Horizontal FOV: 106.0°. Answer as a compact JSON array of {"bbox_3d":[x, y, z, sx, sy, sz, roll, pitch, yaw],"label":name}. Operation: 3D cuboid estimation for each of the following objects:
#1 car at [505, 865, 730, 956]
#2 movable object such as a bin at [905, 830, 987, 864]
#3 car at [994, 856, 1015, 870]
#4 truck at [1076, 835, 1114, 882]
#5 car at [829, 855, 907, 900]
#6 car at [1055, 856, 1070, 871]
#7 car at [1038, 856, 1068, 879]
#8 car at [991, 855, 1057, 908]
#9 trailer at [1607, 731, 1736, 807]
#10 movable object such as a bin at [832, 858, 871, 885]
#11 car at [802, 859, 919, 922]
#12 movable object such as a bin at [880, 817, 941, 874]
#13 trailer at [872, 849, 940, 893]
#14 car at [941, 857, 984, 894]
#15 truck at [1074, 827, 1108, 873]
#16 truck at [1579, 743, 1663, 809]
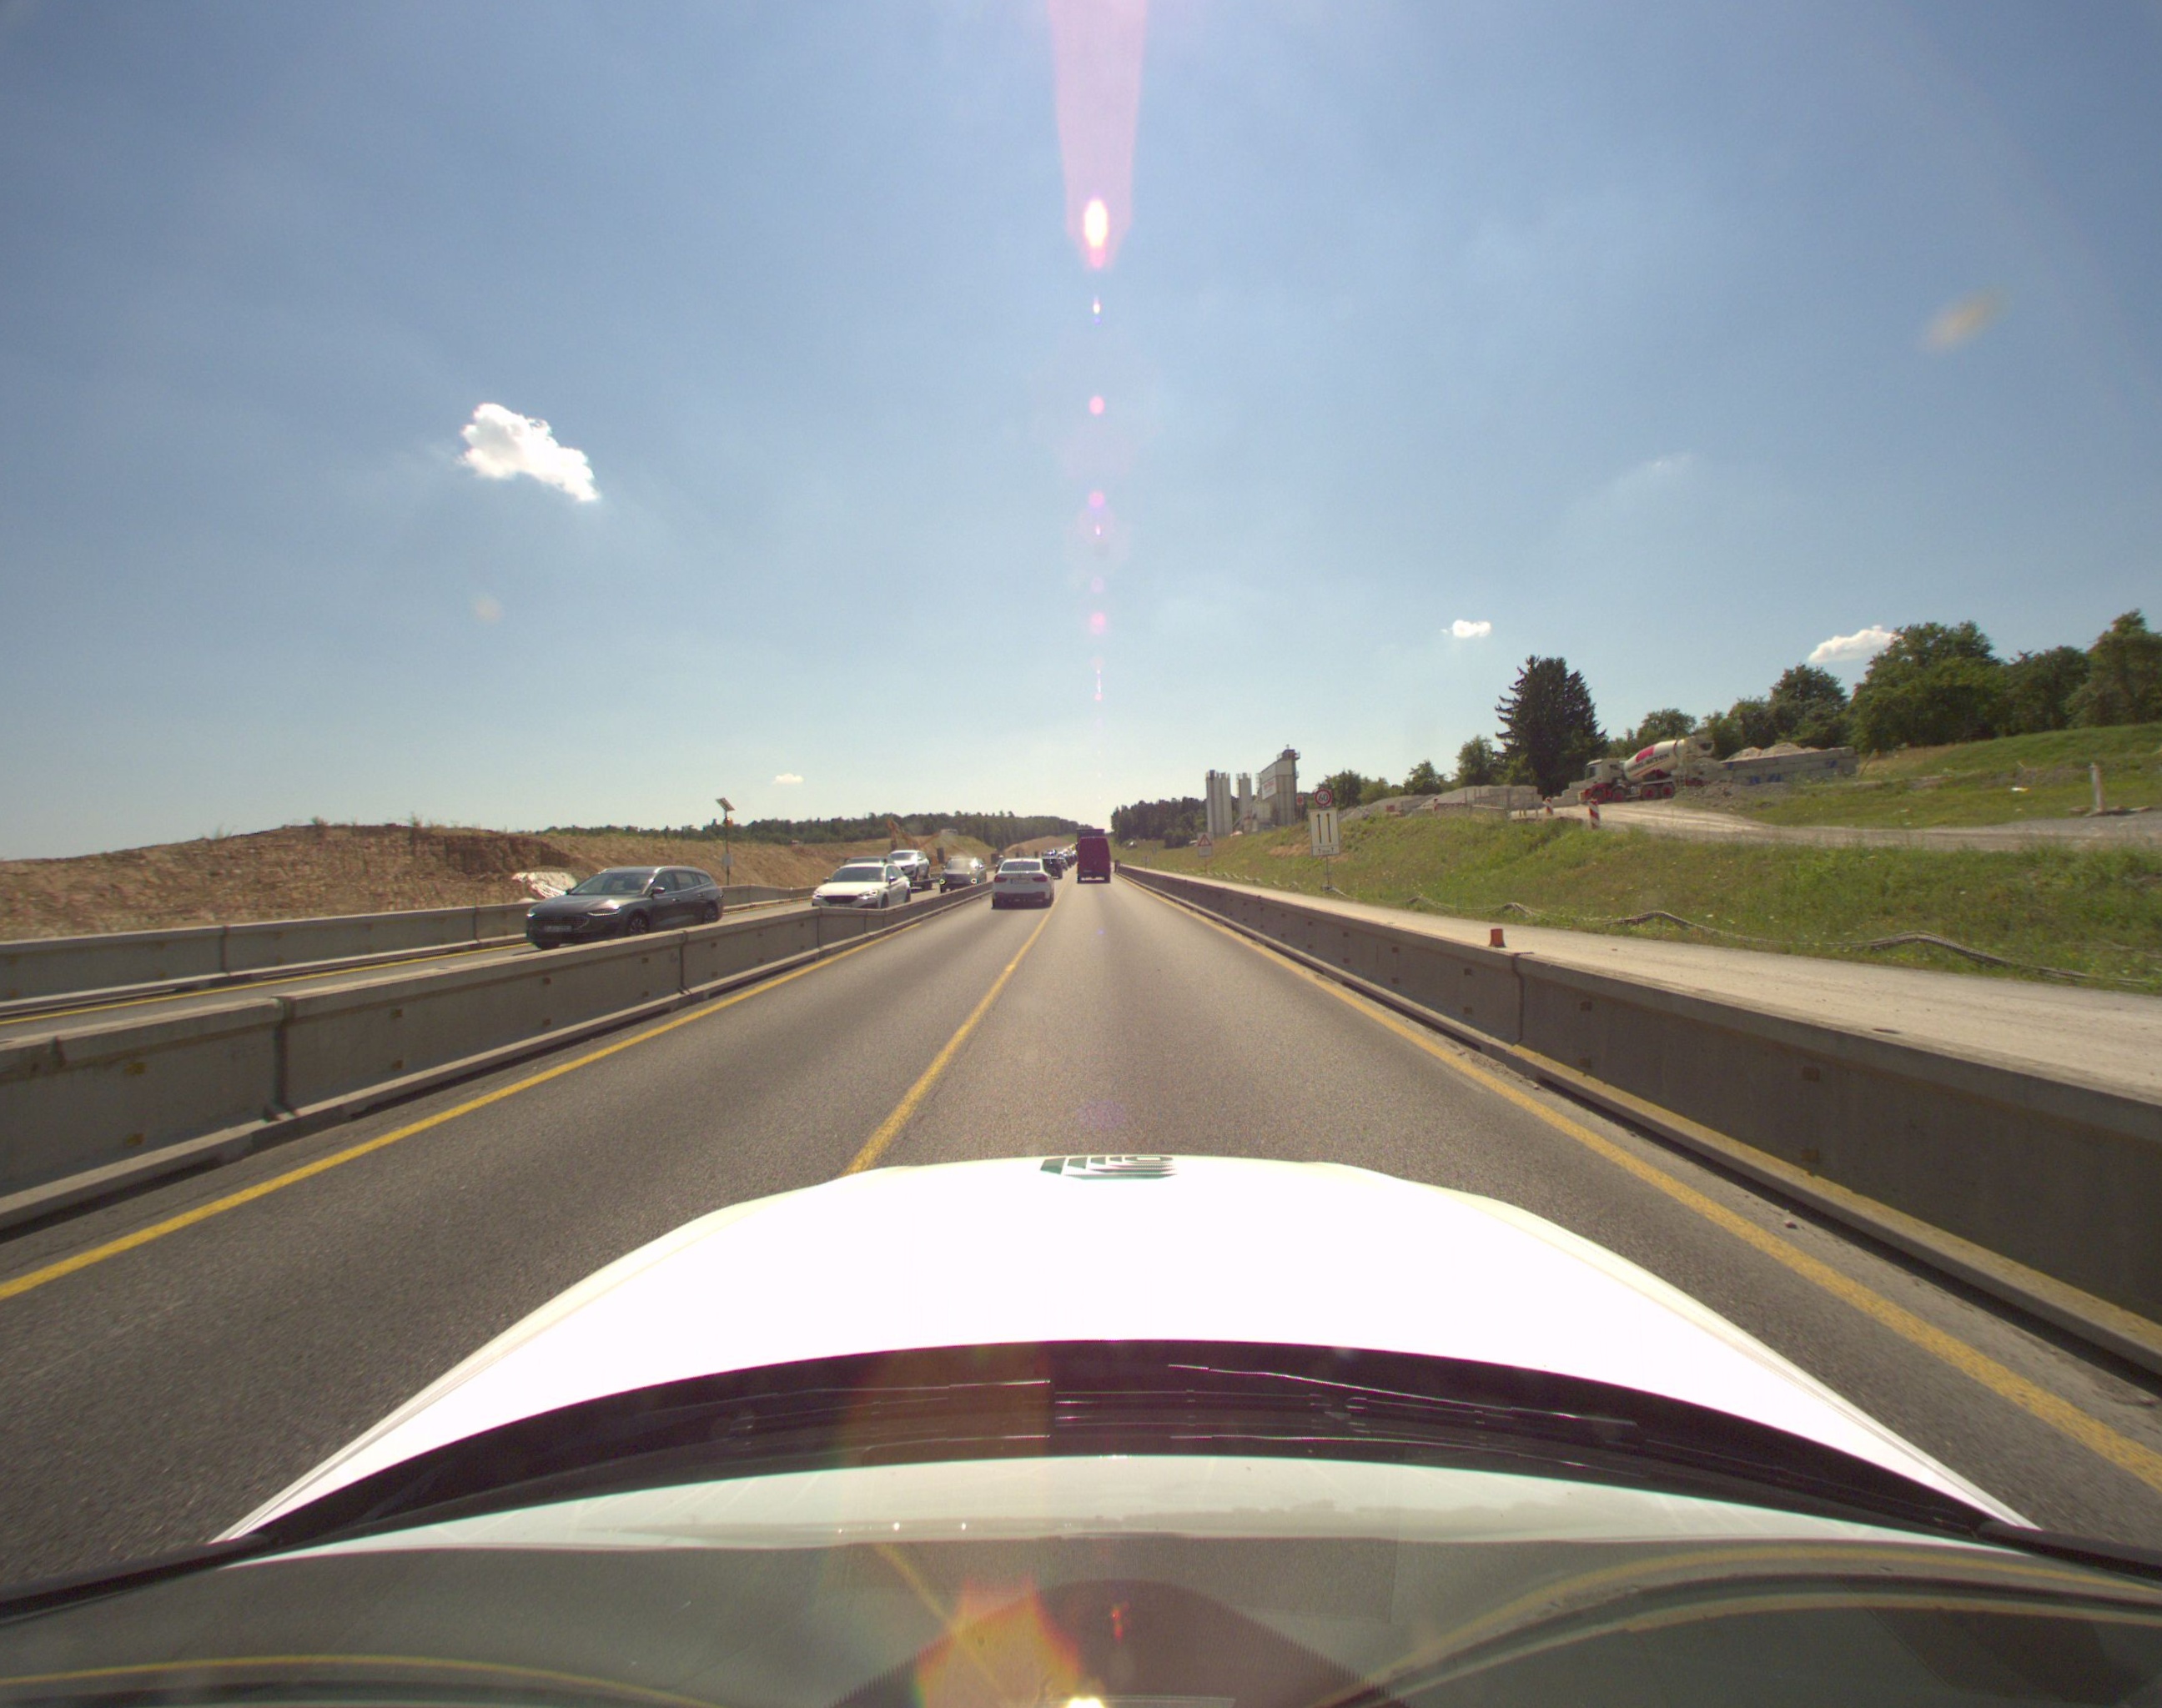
[{"bbox_3d":[-8.839,0.979,16.108,1.816,1.423,4.645,-2,0,-1],"label":"car"},{"bbox_3d":[-32.108,-1.673,194.225,18.663,7.231,3.613,-2,0,-2],"label":"movable object such as a bin"},{"bbox_3d":[-8.523,0.986,91.598,1.854,1.501,4.576,-2,0,0],"label":"car"},{"bbox_3d":[0.816,0.291,50.028,2.105,2.633,6.483,-2,0,0],"label":"truck"},{"bbox_3d":[-8.659,0.912,33.547,1.917,1.679,4.717,-1,0,0],"label":"car"},{"bbox_3d":[-2.667,1.305,117.051,1.987,2.013,4.000,-2,0,0],"label":"car"},{"bbox_3d":[-1.953,0.919,57.759,1.788,1.534,3.932,-2,0,1],"label":"car"},{"bbox_3d":[-1.776,0.816,26.661,1.789,1.534,5.072,-1,0,0],"label":"car"},{"bbox_3d":[37.976,-5.370,52.722,2.755,4.114,6.725,-2,0,-9],"label":"trailer"},{"bbox_3d":[-22.062,1.610,78.593,1.696,2.461,6.743,-2,0,0],"label":"movable object such as a bin"},{"bbox_3d":[-5.805,0.891,22.084,1.810,1.455,4.635,-2,0,1],"label":"car"},{"bbox_3d":[-24.073,-1.136,115.062,7.609,7.713,3.446,-2,0,1],"label":"movable object such as a bin"},{"bbox_3d":[-8.556,0.770,40.286,2.123,1.982,5.235,-2,0,0],"label":"trailer"},{"bbox_3d":[-5.472,0.940,37.967,1.692,1.579,4.126,-2,0,-5],"label":"car"},{"bbox_3d":[1.028,-0.325,79.138,3.005,4.153,8.273,-2,0,1],"label":"truck"},{"bbox_3d":[37.406,-5.347,56.510,2.744,4.095,4.088,-2,0,-9],"label":"truck"}]
